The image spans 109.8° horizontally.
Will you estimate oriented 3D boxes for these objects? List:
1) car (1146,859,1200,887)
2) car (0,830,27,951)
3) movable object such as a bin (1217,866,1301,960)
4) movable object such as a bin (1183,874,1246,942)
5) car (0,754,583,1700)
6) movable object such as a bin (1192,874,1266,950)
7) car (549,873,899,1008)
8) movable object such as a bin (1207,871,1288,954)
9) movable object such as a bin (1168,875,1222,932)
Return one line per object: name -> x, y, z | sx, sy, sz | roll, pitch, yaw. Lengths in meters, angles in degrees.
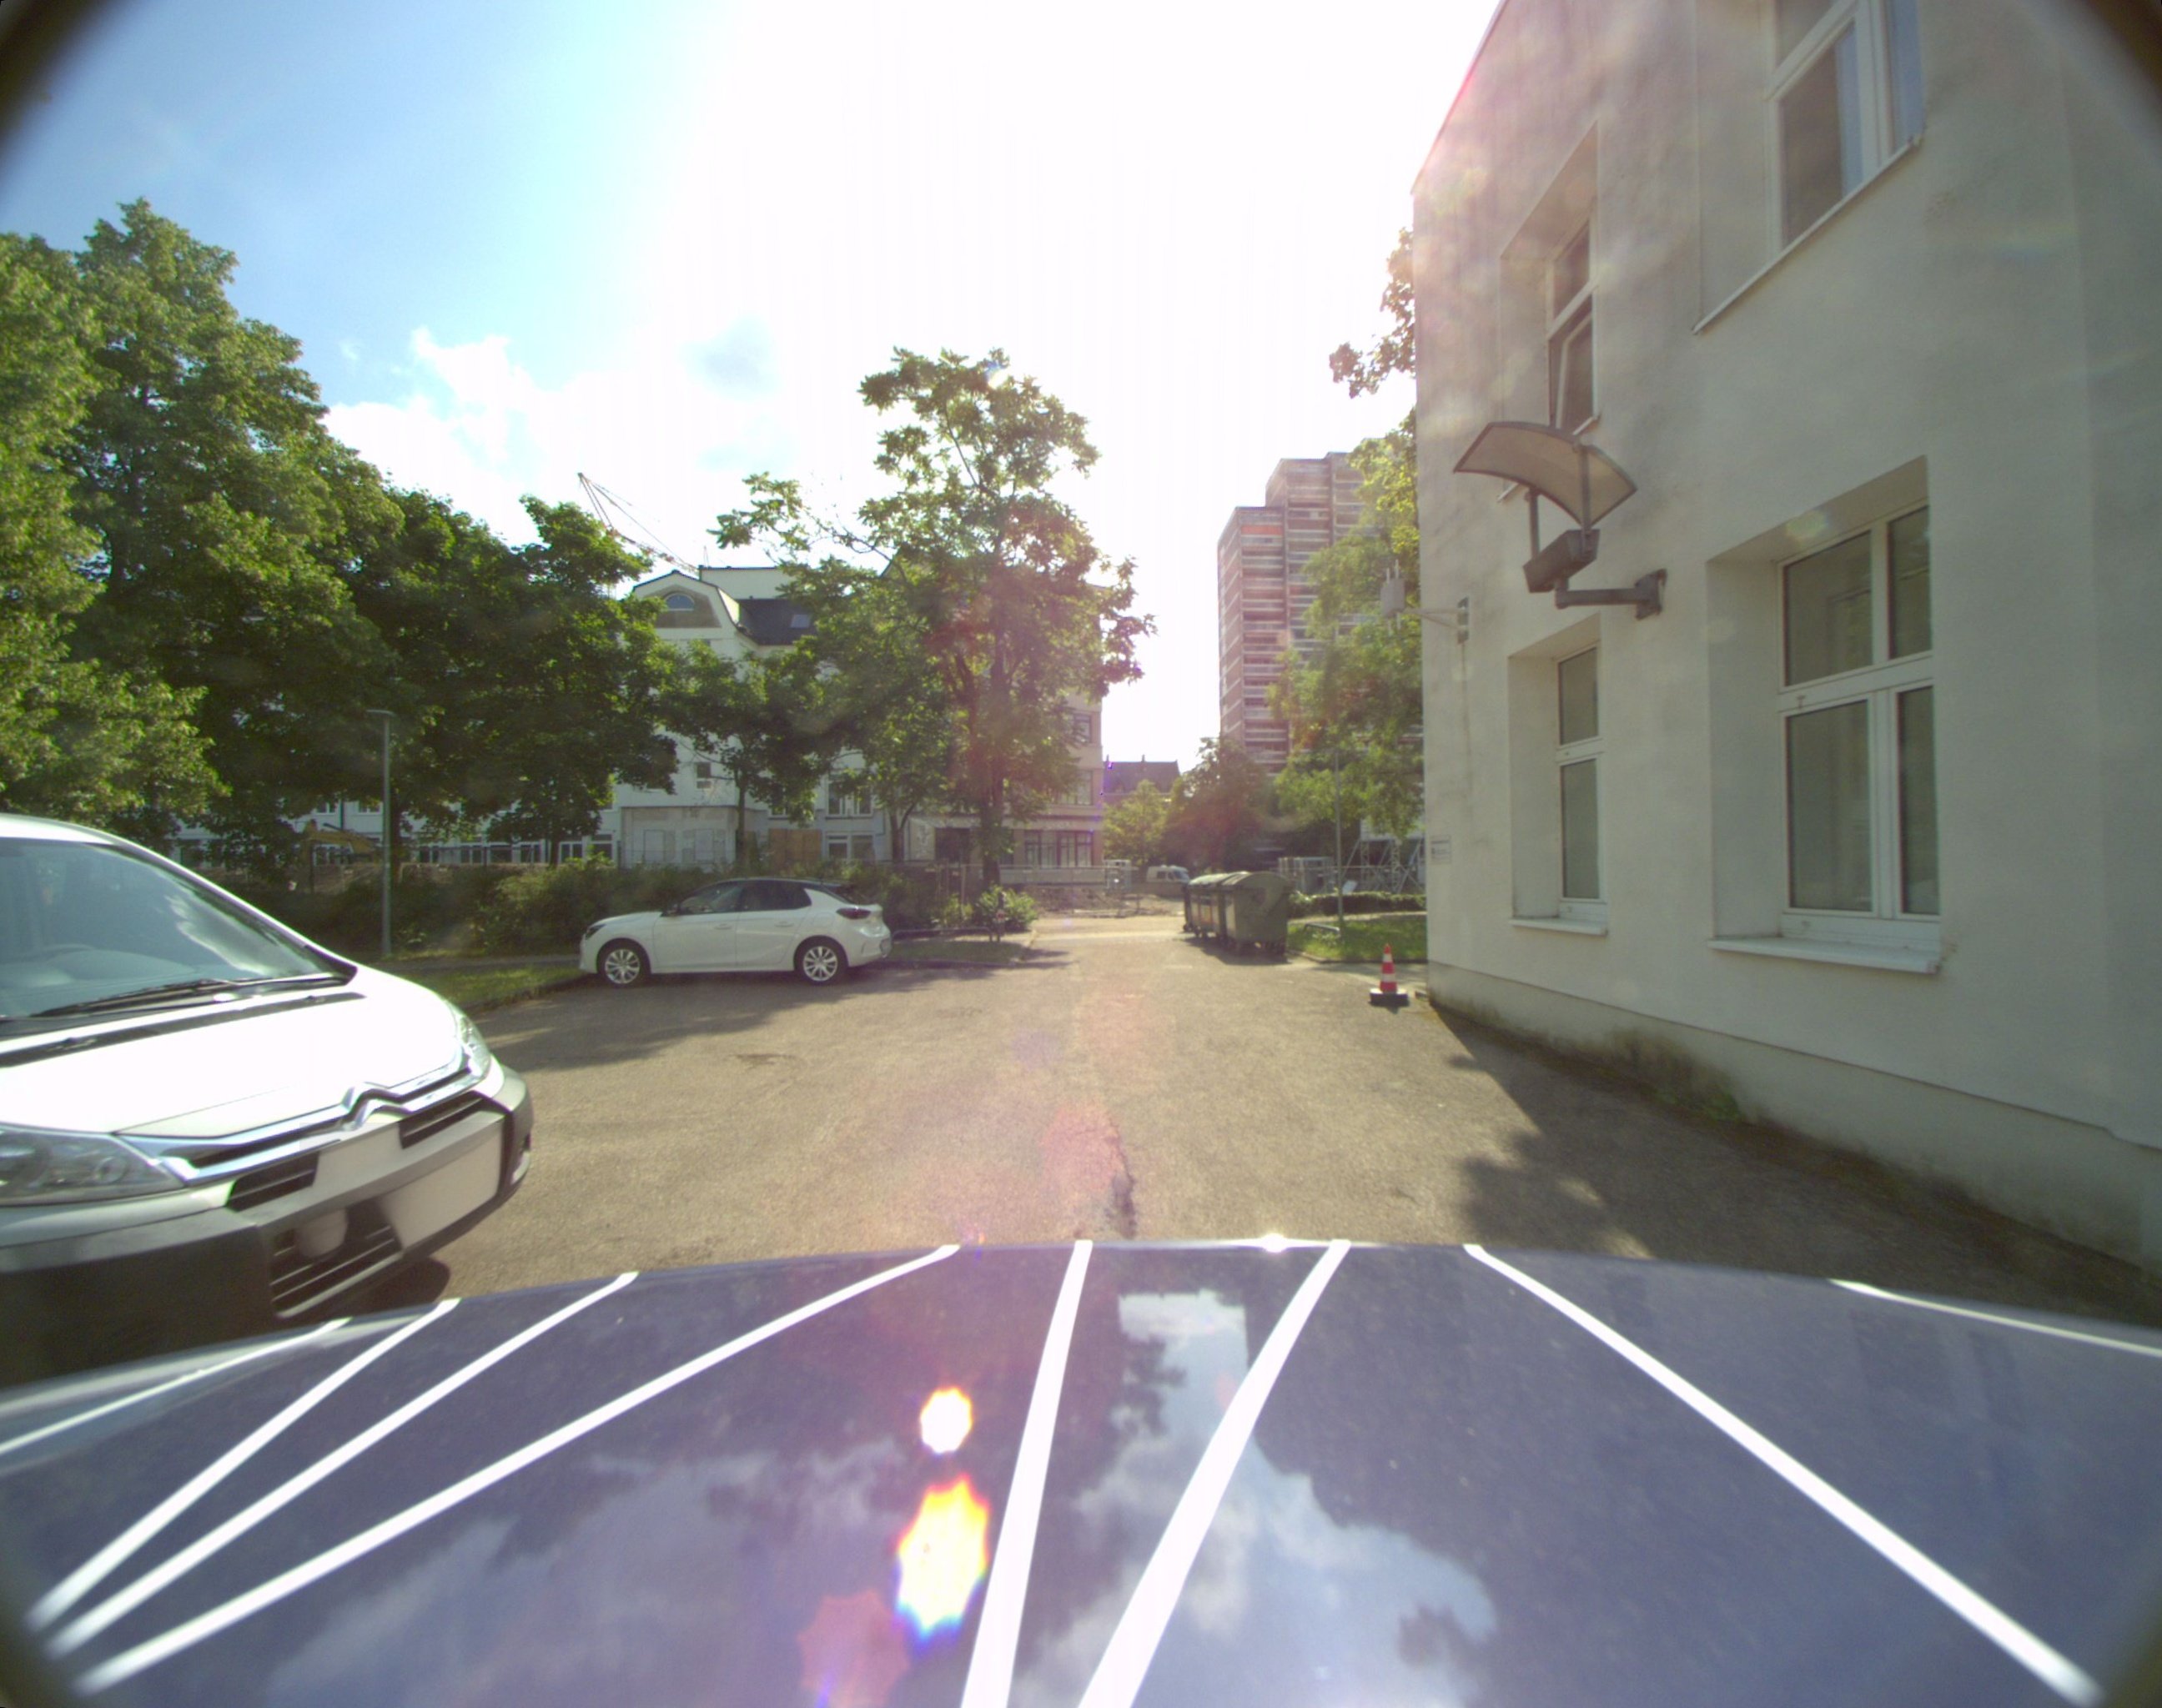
car -> 8.046, 1.624, 66.946 | 2.002, 2.003, 5.294 | -4, 5, -27
car -> -27.139, 0.949, 15.885 | 2.001, 3.030, 6.965 | -4, 1, -17
movable object such as a bin -> 3.149, 1.021, 13.576 | 1.102, 1.444, 1.342 | -5, 2, 1
movable object such as a bin -> 3.120, 1.248, 17.870 | 1.102, 1.443, 1.342 | 3, 1, -4
car -> -4.733, 0.880, 2.350 | 4.951, 1.953, 2.000 | -3, 1, 0
movable object such as a bin -> 3.173, 1.225, 16.405 | 1.103, 1.443, 1.233 | -5, 1, -9
car -> -4.703, 1.113, 10.505 | 3.914, 1.412, 1.757 | -3, 3, -3
movable object such as a bin -> 3.239, 1.119, 14.942 | 1.227, 1.443, 1.283 | -5, 0, 2
movable object such as a bin -> 3.246, 1.382, 21.543 | 1.247, 1.473, 1.297 | -3, 1, 19
